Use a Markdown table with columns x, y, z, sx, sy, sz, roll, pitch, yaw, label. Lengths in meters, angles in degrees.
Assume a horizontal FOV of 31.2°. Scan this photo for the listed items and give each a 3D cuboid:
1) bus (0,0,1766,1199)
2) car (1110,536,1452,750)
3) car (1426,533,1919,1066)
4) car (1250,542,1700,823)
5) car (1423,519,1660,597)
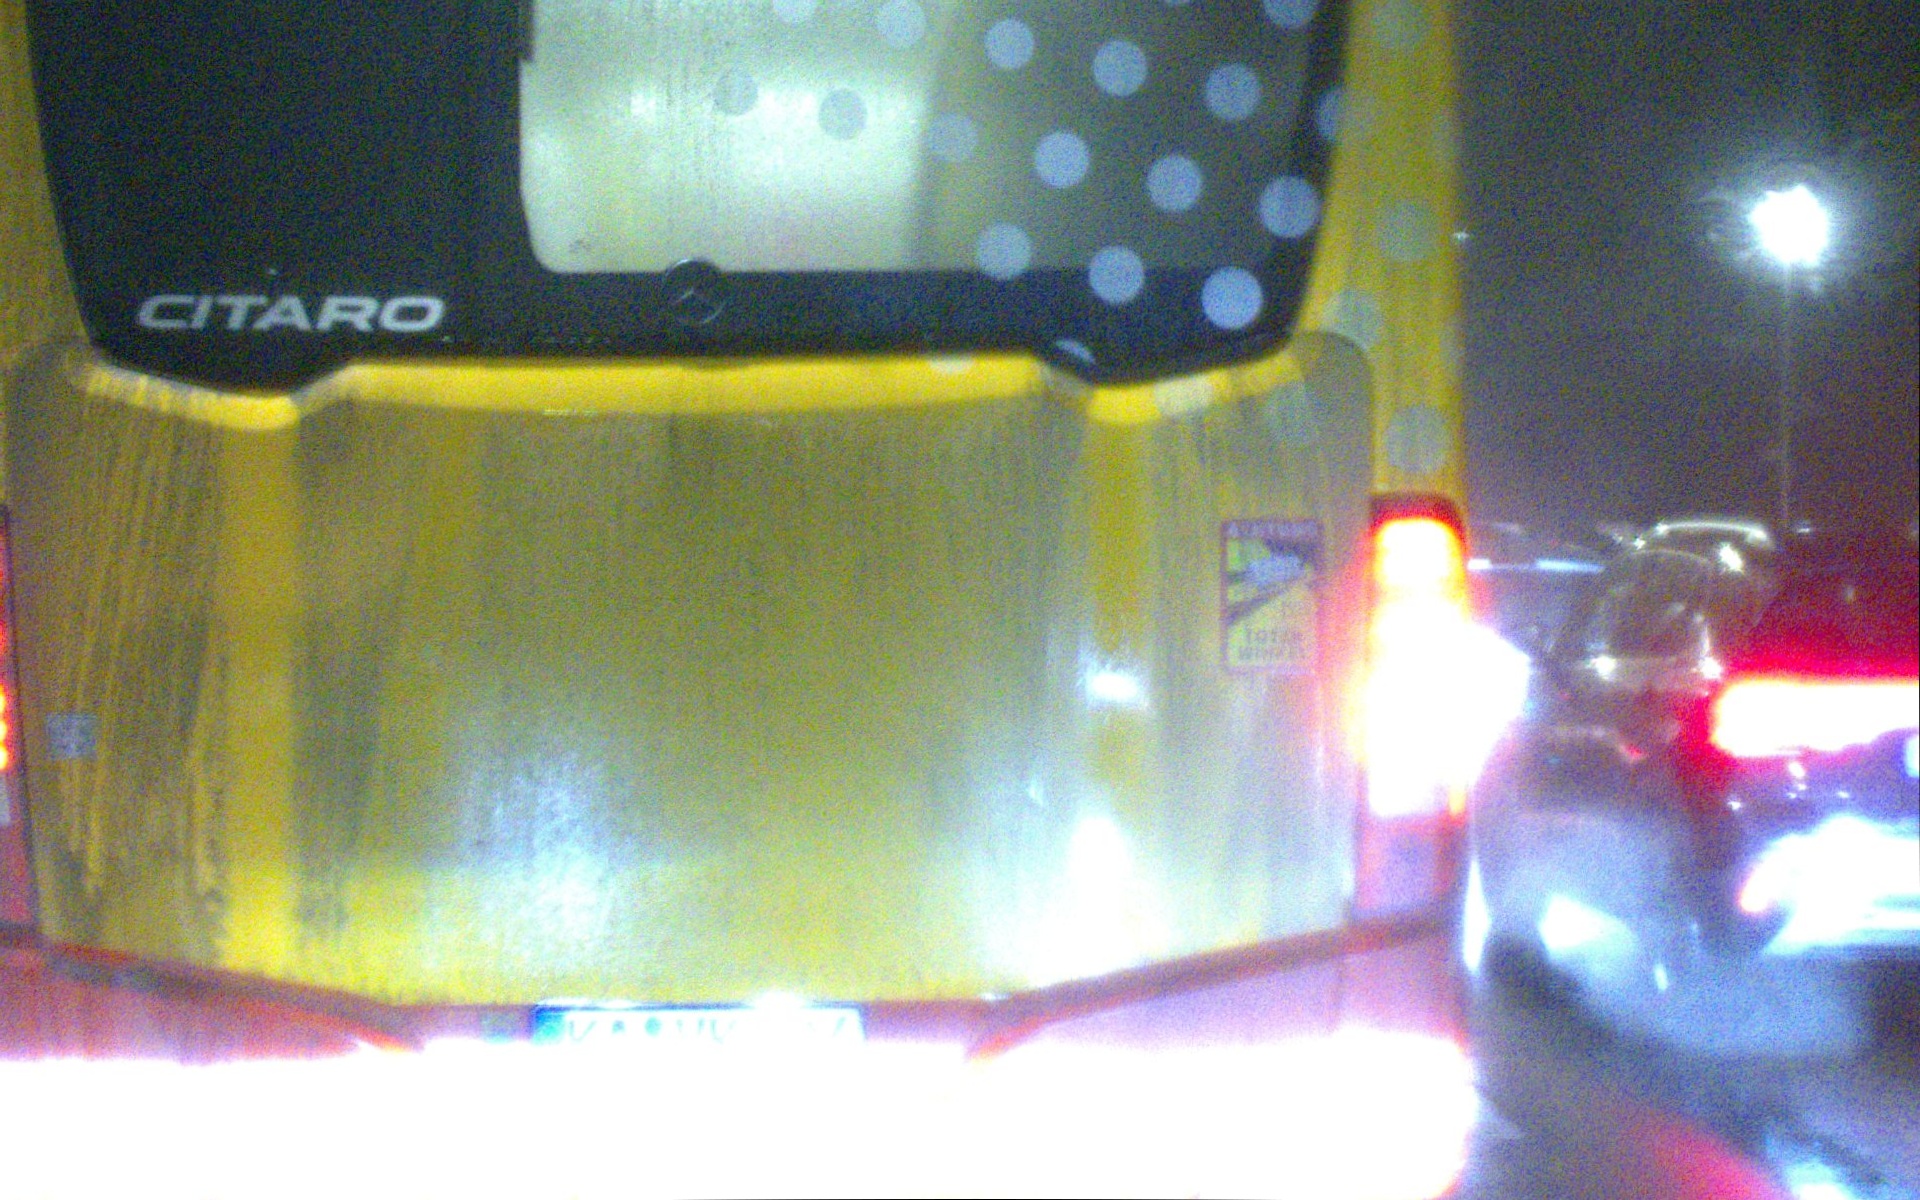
| x | y | z | sx | sy | sz | roll | pitch | yaw | label |
| --- | --- | --- | --- | --- | --- | --- | --- | --- | --- |
| -0.629 | -0.312 | 9.832 | 3.285 | 3.039 | 9.546 | 0 | 2 | -2 | bus |
| 2.280 | 0.273 | 25.448 | 1.993 | 1.436 | 4.000 | 1 | 1 | -2 | car |
| 2.821 | 0.556 | 11.819 | 1.677 | 1.516 | 3.961 | 1 | 1 | -3 | car |
| 2.628 | 0.362 | 18.400 | 1.686 | 1.326 | 3.961 | -1 | 1 | -2 | car |
| 10.954 | -0.794 | 64.903 | 4.041 | 1.341 | 1.748 | 1 | 3 | -8 | car |
